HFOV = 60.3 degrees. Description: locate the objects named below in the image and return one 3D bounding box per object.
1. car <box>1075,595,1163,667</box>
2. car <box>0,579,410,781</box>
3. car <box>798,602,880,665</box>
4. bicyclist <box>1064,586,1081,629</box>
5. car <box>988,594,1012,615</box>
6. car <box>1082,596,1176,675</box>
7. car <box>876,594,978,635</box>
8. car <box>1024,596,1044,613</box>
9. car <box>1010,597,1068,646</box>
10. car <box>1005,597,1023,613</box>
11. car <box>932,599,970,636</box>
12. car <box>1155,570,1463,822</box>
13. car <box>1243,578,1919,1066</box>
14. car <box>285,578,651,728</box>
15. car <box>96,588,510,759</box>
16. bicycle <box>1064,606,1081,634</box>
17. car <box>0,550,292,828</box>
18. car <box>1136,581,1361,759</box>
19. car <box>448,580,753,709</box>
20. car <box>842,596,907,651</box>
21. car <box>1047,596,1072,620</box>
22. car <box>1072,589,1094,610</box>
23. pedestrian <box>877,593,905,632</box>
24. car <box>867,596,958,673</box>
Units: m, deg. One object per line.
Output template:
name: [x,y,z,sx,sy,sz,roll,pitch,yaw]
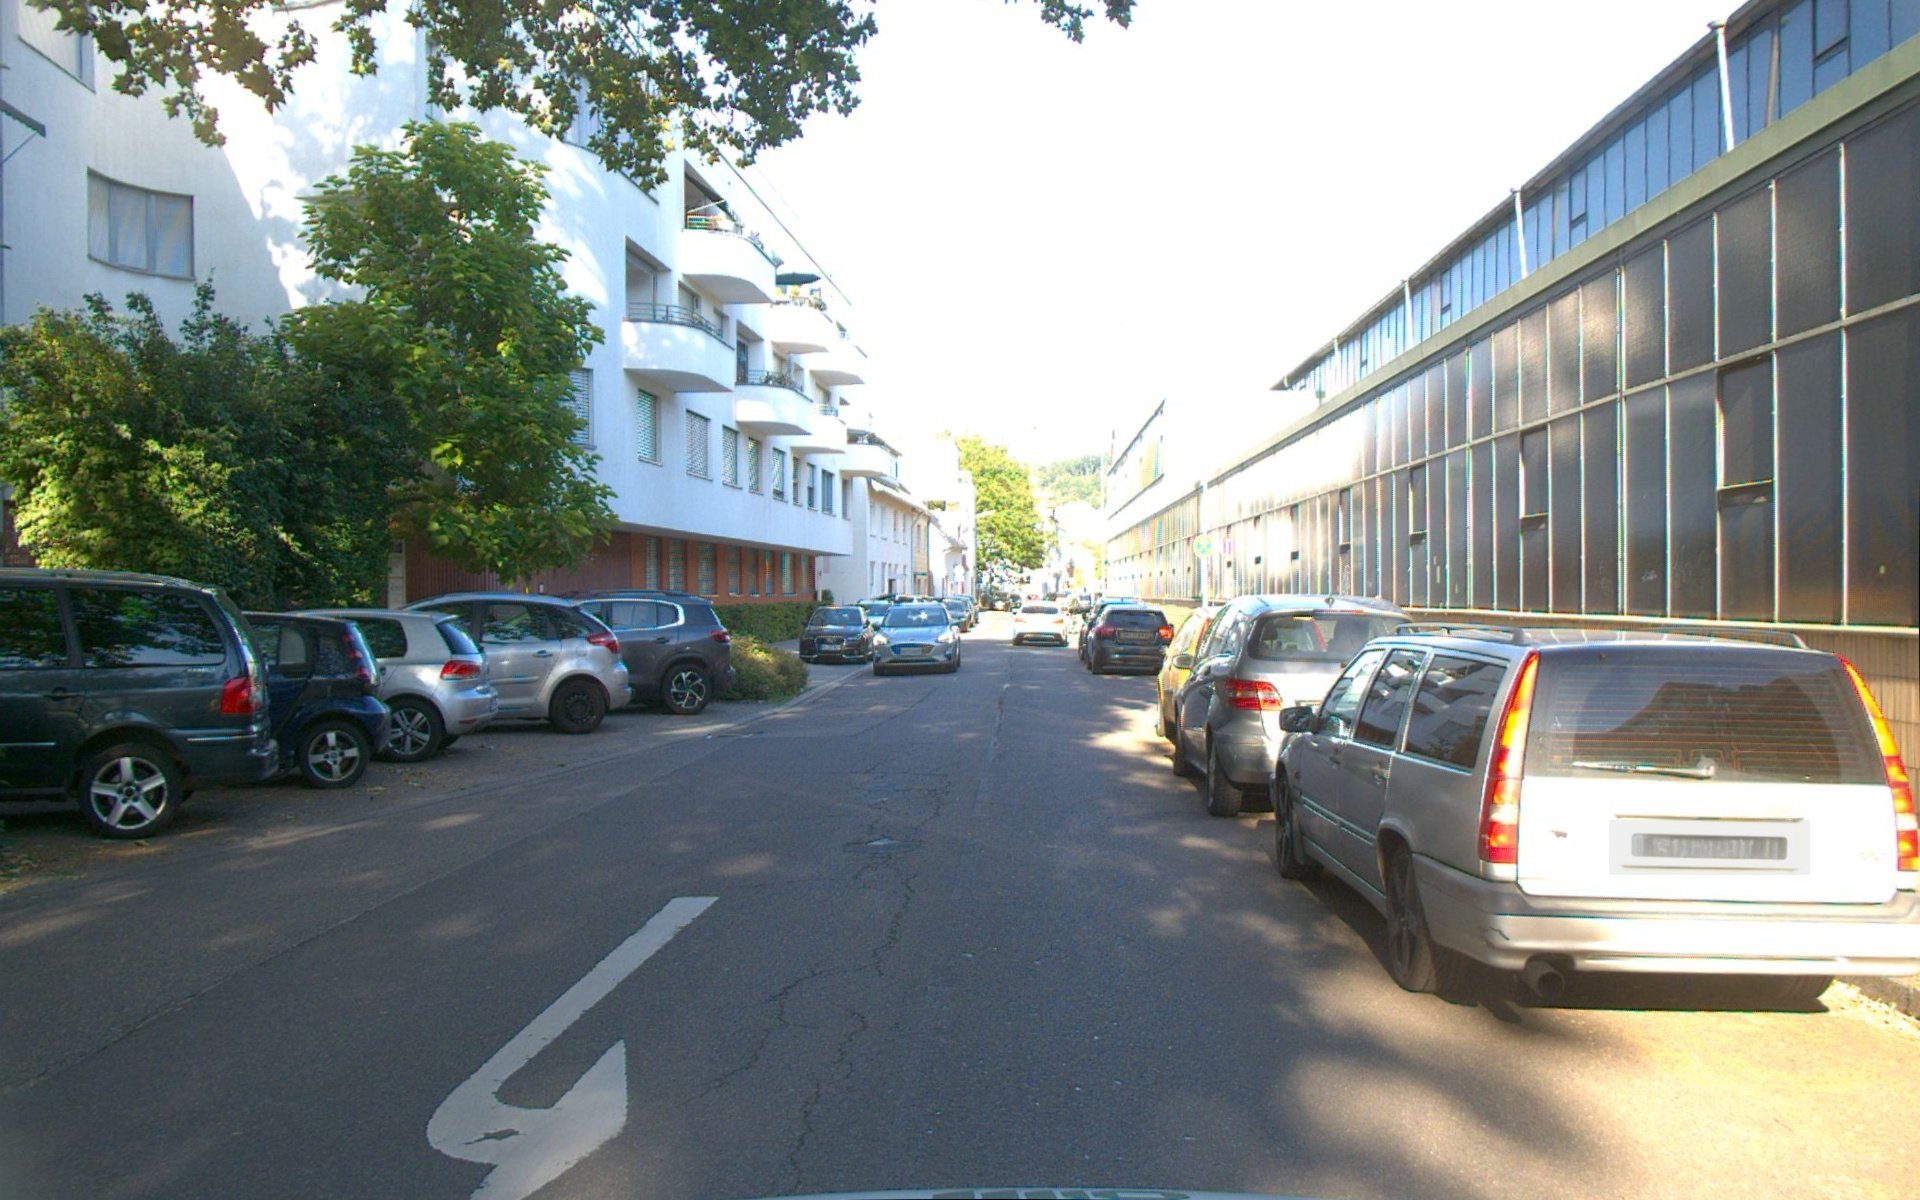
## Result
car: [3.882,0.739,41.052,1.770,1.615,4.405,2,0,1]
car: [-6.704,0.659,14.254,3.589,1.588,1.688,2,-1,-23]
car: [-3.039,0.835,42.156,1.640,1.458,3.771,2,0,2]
bicyclist: [4.897,0.339,71.678,0.683,1.821,1.041,1,-1,4]
car: [3.654,0.378,150.081,1.814,1.823,4.610,1,0,5]
car: [3.602,0.736,35.863,1.714,1.517,4.623,2,0,3]
car: [-1.378,0.618,70.370,4.232,1.562,1.690,3,-1,1]
car: [6.981,0.474,155.838,1.804,1.517,4.145,1,0,3]
car: [2.569,0.697,54.147,1.804,1.517,4.145,1,0,2]
car: [5.497,0.530,168.657,1.668,1.603,3.915,1,0,3]
car: [-0.413,0.804,76.225,1.650,1.562,4.334,3,0,0]
car: [2.633,0.671,13.432,1.714,1.663,4.310,1,-1,2]
car: [2.620,0.731,7.541,1.861,1.519,4.529,1,0,0]
car: [-5.971,0.647,20.115,4.068,1.669,1.765,2,-1,-22]
car: [-6.568,0.727,16.891,3.571,1.588,1.696,2,-1,-9]
bicycle: [4.884,0.870,71.720,0.683,1.150,2.404,1,-1,4]
car: [-6.960,0.564,11.475,4.194,1.806,1.894,2,-1,-21]
car: [2.991,0.691,17.918,1.715,1.663,4.001,1,-1,0]
car: [-5.052,0.635,23.261,3.897,1.691,1.686,2,-1,-26]
car: [-2.755,0.754,54.029,1.820,1.615,4.621,3,0,0]
car: [7.821,0.623,130.341,1.815,1.823,4.608,1,0,1]
car: [9.860,-0.046,132.513,1.595,1.615,4.071,-2,-1,3]
pedestrian: [-3.392,0.633,81.255,0.845,1.850,1.131,4,1,27]
car: [-0.992,0.719,36.252,1.861,1.563,4.620,0,0,-1]
